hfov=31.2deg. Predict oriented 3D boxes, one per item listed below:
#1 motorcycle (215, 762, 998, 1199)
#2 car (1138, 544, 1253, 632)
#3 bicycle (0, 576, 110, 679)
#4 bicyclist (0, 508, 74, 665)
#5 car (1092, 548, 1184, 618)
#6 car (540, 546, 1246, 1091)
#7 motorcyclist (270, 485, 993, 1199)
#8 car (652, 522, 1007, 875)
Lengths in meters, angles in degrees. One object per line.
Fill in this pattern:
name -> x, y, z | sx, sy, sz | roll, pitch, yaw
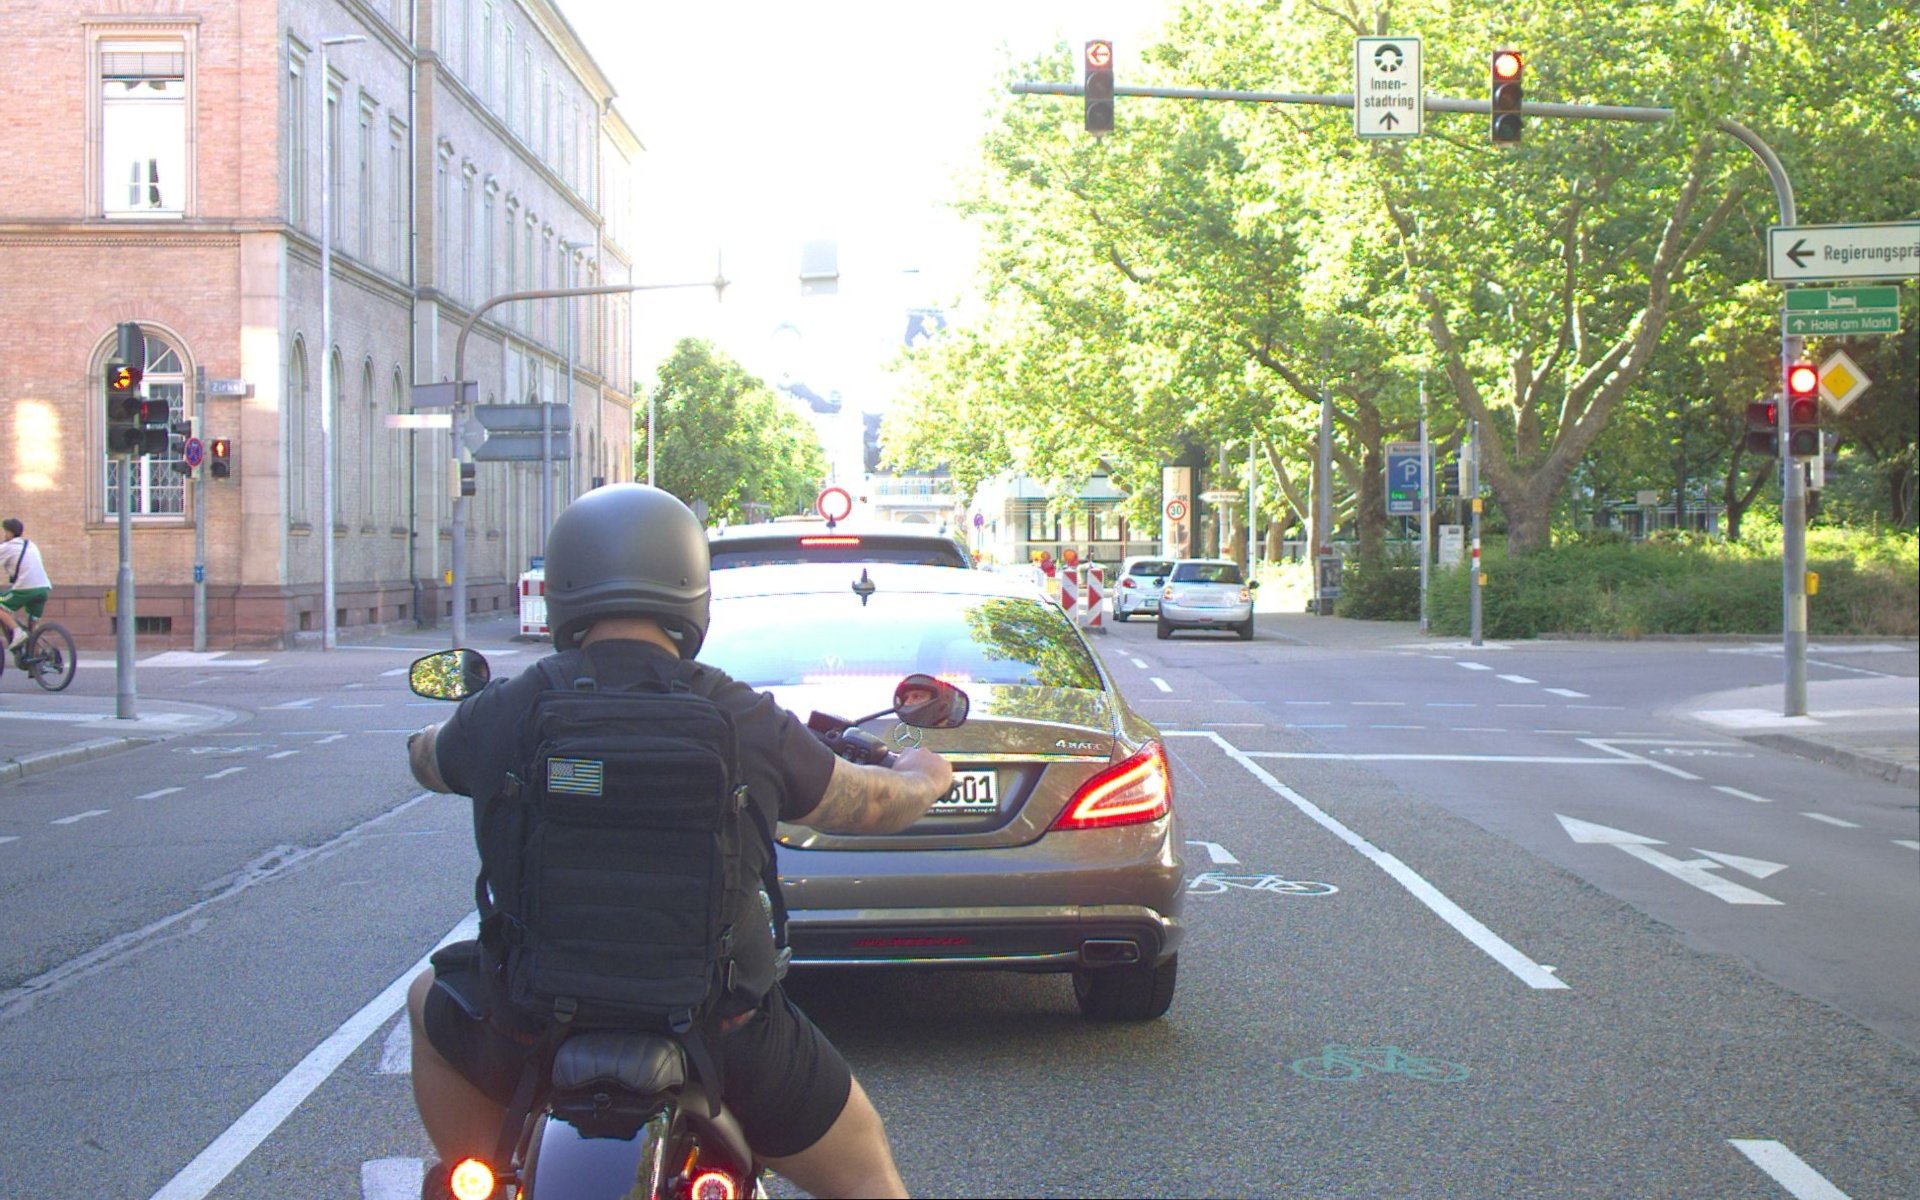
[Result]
motorcycle -> -0.461, 0.880, 5.581 | 0.989, 1.075, 2.452 | 0, 1, -1
car -> 4.151, -0.226, 61.120 | 1.821, 1.475, 3.908 | -1, 1, 1
bicycle -> -10.288, 0.292, 37.450 | 1.874, 1.099, 0.705 | 0, 1, 9
bicyclist -> -10.256, -0.149, 37.451 | 0.962, 1.687, 0.705 | 0, 1, 9
car -> 3.889, -0.381, 75.631 | 1.856, 1.481, 3.908 | 1, 1, 1
car -> -0.436, 0.558, 11.617 | 1.945, 1.468, 4.363 | 0, 1, -7
motorcyclist -> -0.457, 0.625, 5.422 | 0.989, 1.591, 1.404 | 0, 1, -1
car -> -0.642, 0.408, 17.782 | 1.612, 1.602, 4.329 | 0, 1, -1
